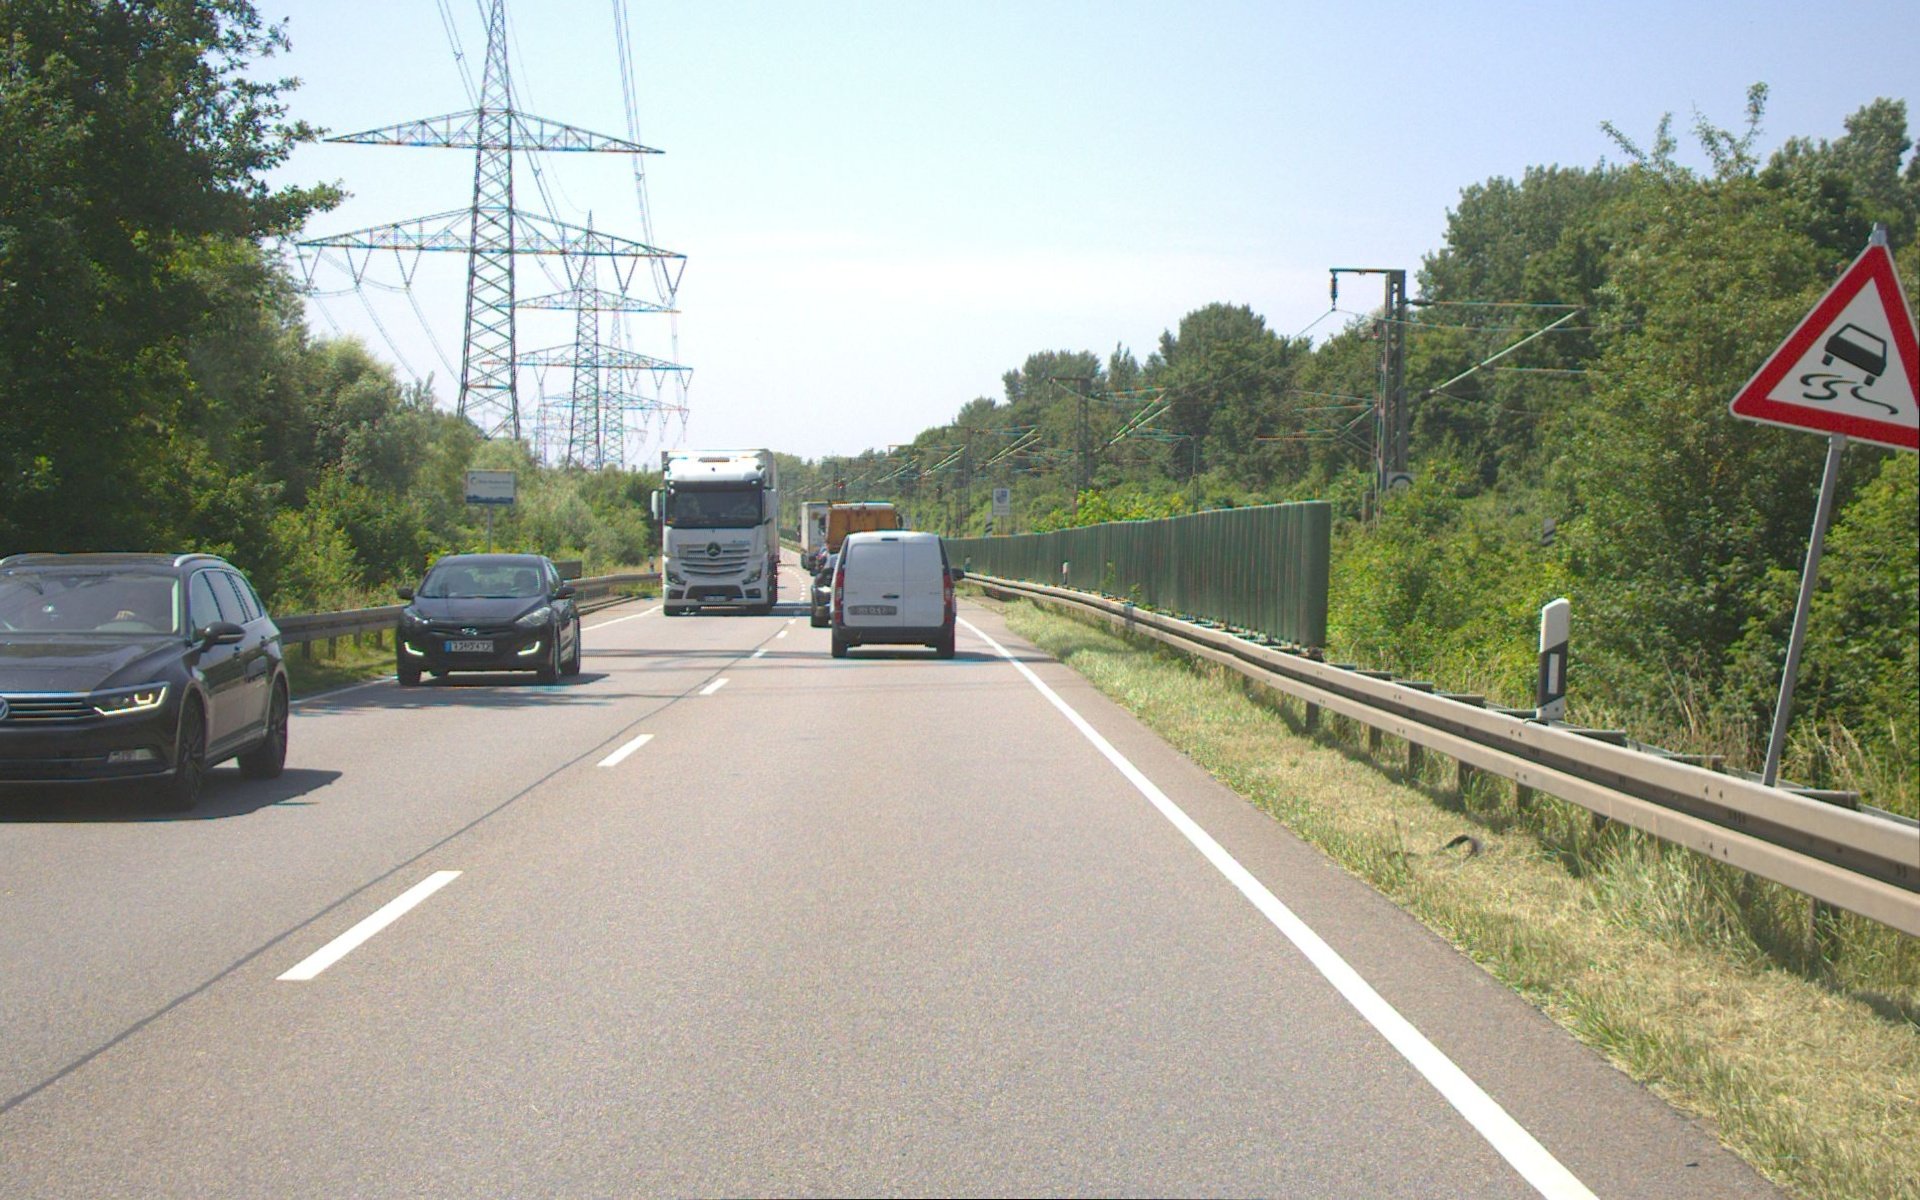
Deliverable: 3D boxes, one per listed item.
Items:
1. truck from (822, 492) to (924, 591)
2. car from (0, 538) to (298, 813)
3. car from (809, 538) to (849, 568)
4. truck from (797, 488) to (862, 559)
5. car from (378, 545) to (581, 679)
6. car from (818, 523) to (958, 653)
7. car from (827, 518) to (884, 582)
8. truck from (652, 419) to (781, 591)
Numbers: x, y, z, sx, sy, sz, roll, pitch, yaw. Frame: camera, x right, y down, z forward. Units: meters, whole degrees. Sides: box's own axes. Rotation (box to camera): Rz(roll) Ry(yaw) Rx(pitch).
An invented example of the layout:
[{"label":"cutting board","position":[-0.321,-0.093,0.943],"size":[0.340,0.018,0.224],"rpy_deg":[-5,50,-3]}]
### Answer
[{"label":"truck","position":[-3.267,-2.232,125.118],"size":[3.296,3.161,14.407],"rpy_deg":[3,2,-2]},{"label":"car","position":[-5.297,0.375,20.750],"size":[1.845,1.492,4.000],"rpy_deg":[0,1,0]},{"label":"car","position":[-6.631,-2.384,173.899],"size":[1.993,1.521,4.000],"rpy_deg":[0,1,-2]},{"label":"truck","position":[-7.946,-4.703,206.866],"size":[3.402,3.841,16.821],"rpy_deg":[3,2,-3]},{"label":"car","position":[-5.513,0.101,39.837],"size":[1.801,1.449,4.000],"rpy_deg":[0,1,0]},{"label":"car","position":[-1.079,-0.206,49.609],"size":[1.875,1.735,4.001],"rpy_deg":[2,1,-2]},{"label":"car","position":[-3.467,-1.665,113.649],"size":[1.763,2.007,4.001],"rpy_deg":[3,1,-2]},{"label":"truck","position":[-5.966,-2.326,85.511],"size":[2.742,4.028,9.665],"rpy_deg":[0,1,-1]}]
